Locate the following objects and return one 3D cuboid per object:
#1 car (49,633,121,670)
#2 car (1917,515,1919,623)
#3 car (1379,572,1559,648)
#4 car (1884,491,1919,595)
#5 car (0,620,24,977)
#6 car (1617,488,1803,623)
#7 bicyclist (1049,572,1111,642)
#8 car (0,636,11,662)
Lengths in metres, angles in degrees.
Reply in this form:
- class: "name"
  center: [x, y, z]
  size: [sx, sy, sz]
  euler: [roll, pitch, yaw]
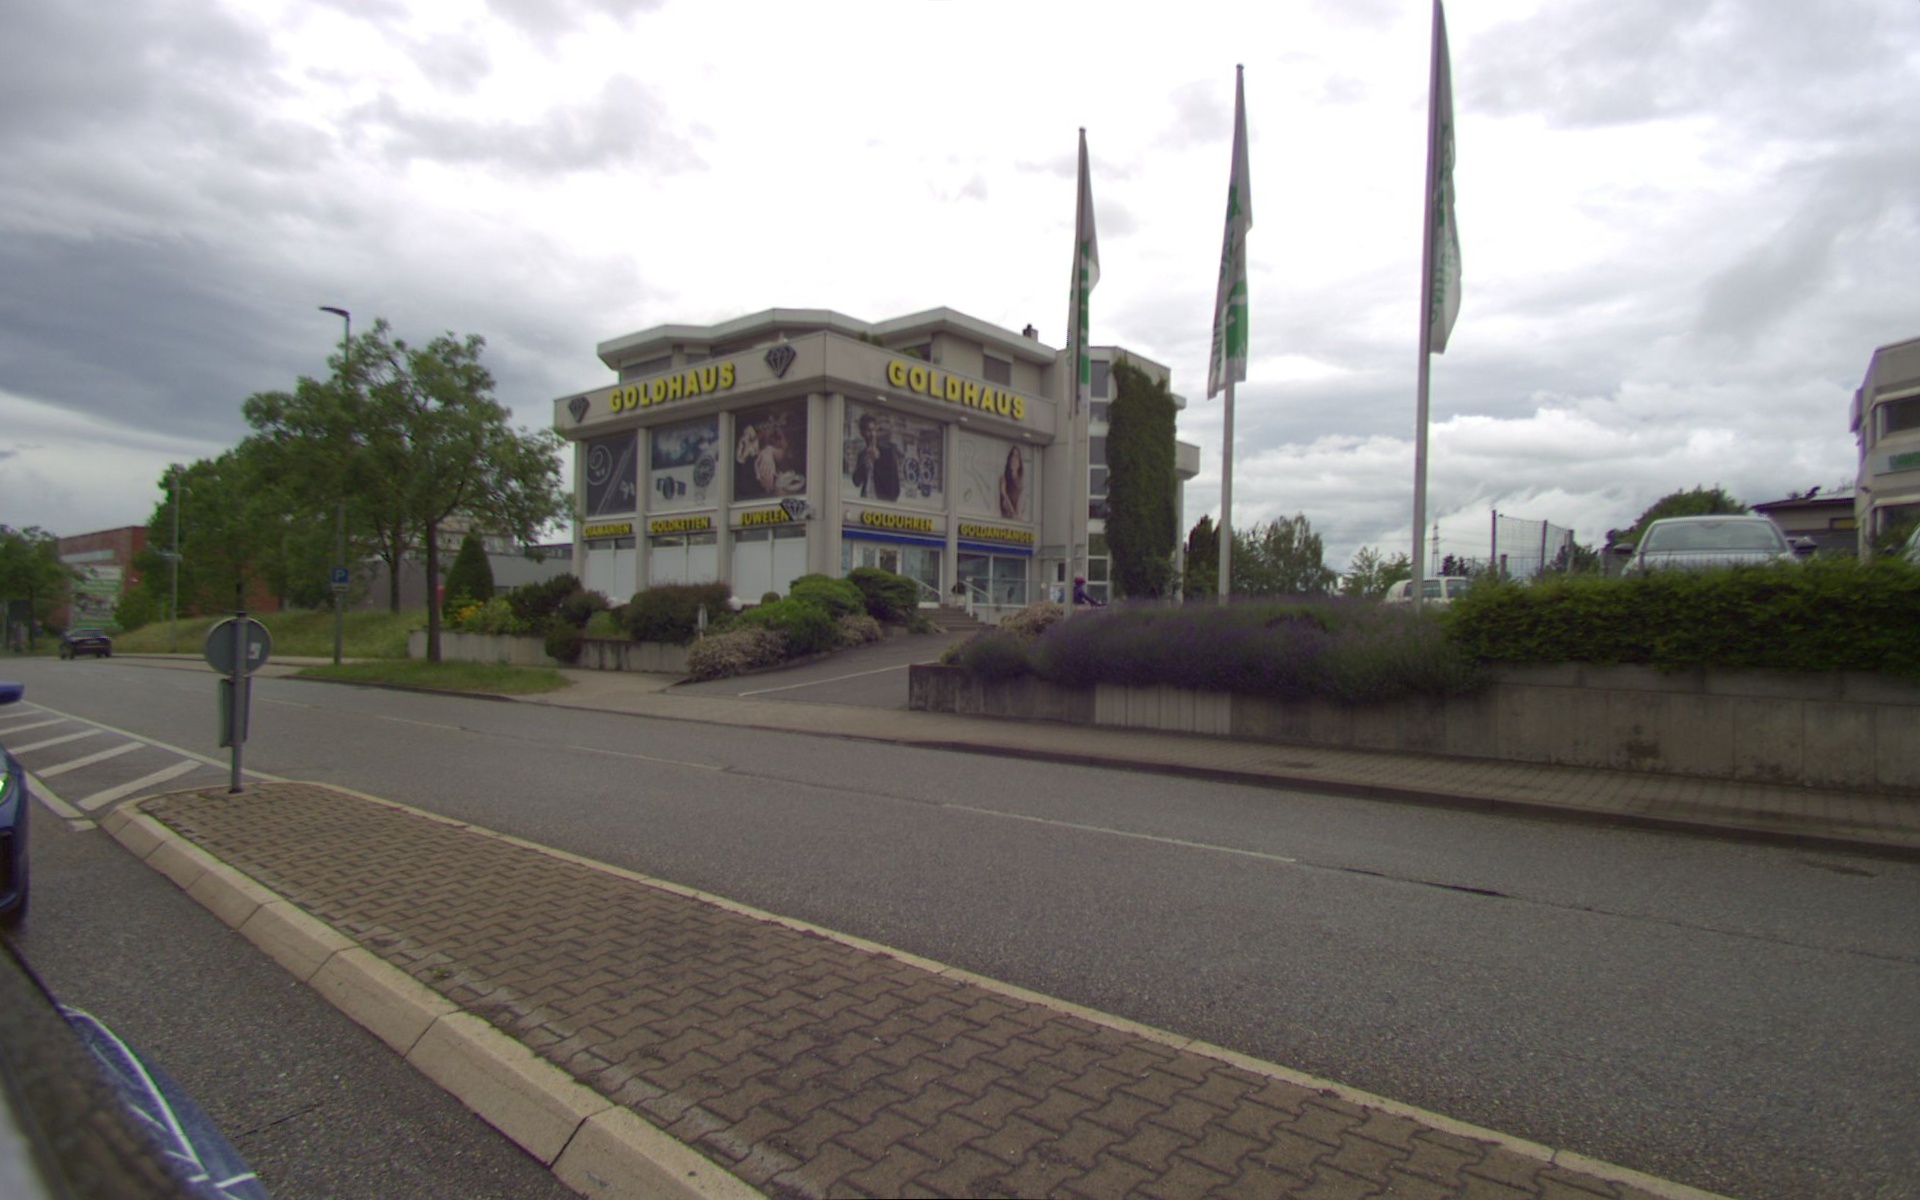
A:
- class: "car"
  center: [-47.664, 2.794, 55.101]
  size: [4.542, 1.905, 2.320]
  euler: [-4, -4, 41]
- class: "car"
  center: [11.215, -0.411, 10.568]
  size: [1.452, 1.287, 3.353]
  euler: [-1, -2, 38]
- class: "car"
  center: [11.512, 0.247, 22.989]
  size: [3.384, 1.608, 1.511]
  euler: [-1, -2, 41]
- class: "car"
  center: [16.058, -0.884, 16.318]
  size: [1.452, 1.484, 3.353]
  euler: [-1, -2, 38]
- class: "car"
  center: [-6.235, 0.834, 5.023]
  size: [4.593, 1.467, 1.762]
  euler: [0, 0, 40]
- class: "car"
  center: [8.868, -0.408, 11.867]
  size: [1.454, 1.347, 3.350]
  euler: [-1, -2, 42]
- class: "bicyclist"
  center: [2.675, 0.143, 22.539]
  size: [0.909, 1.453, 1.014]
  euler: [-1, 4, 39]
- class: "car"
  center: [-62.655, 3.159, 65.075]
  size: [3.998, 1.608, 1.973]
  euler: [-4, -4, 41]
